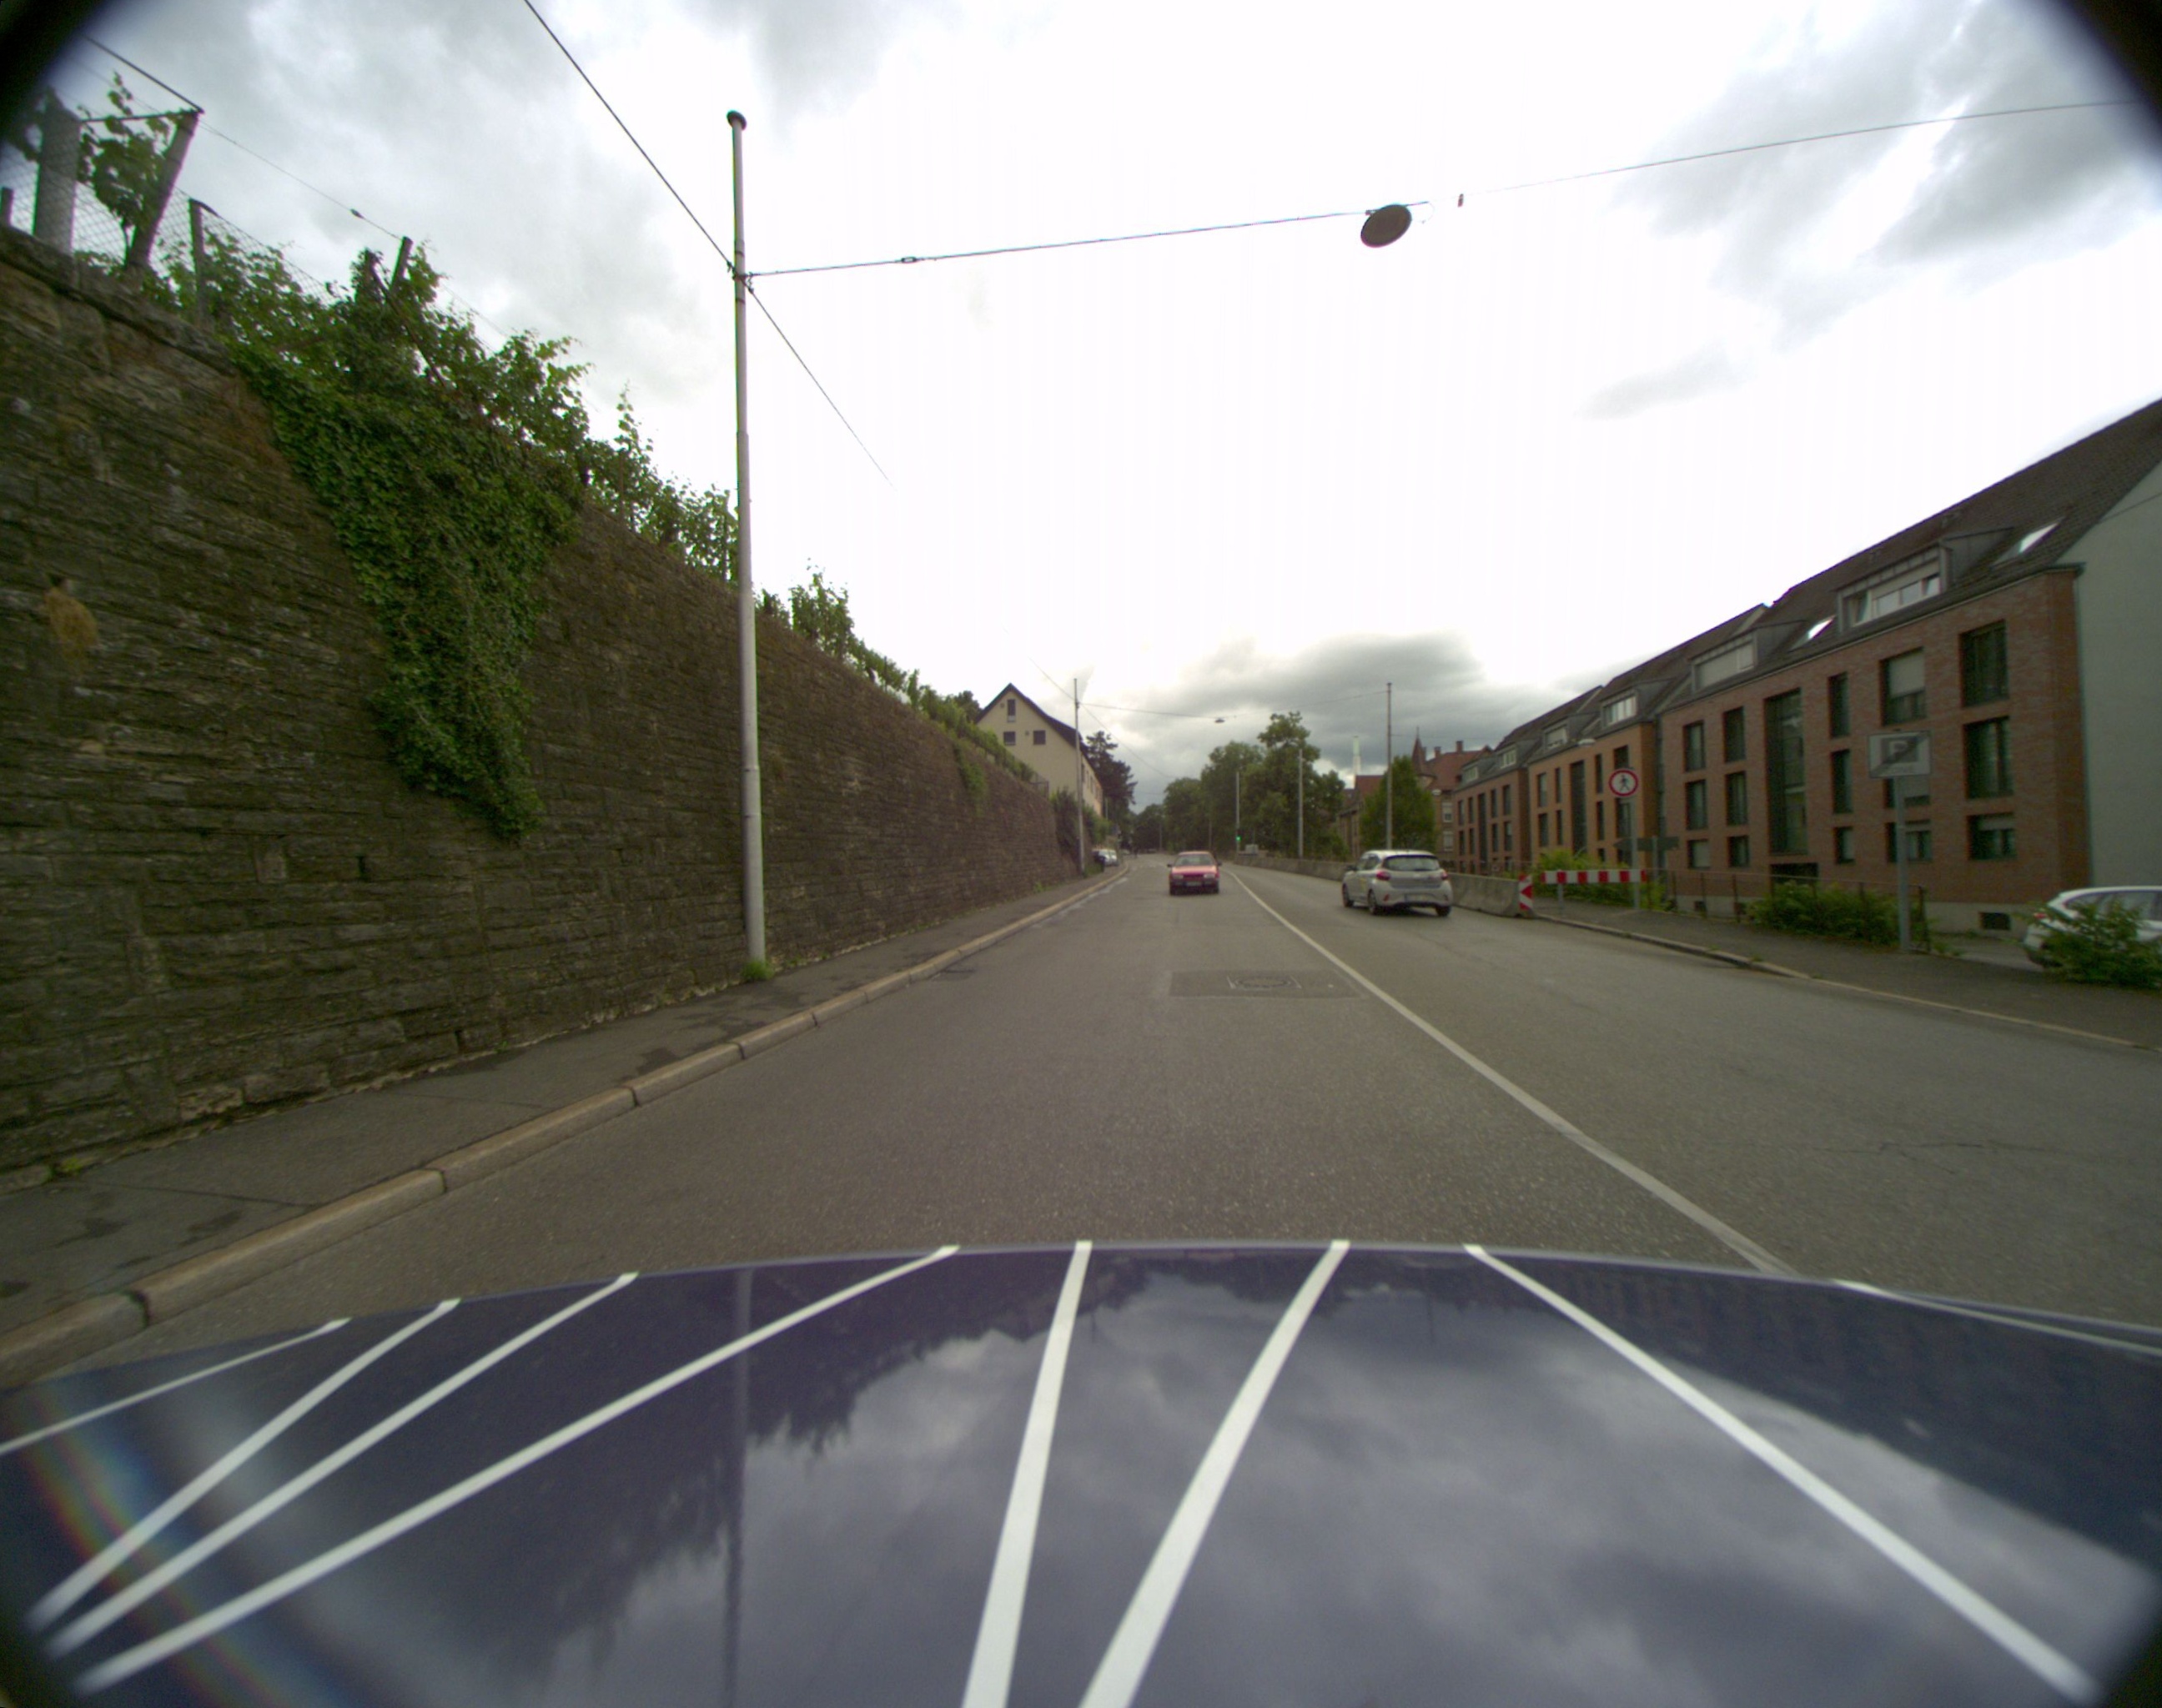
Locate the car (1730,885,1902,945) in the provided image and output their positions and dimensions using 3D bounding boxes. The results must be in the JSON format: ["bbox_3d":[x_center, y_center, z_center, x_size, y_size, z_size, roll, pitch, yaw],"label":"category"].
[{"bbox_3d":[23.928,1.921,24.975,1.997,1.652,4.002,1,0,6],"label":"car"}]

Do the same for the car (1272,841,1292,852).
[{"bbox_3d":[25.500,-0.949,96.604,1.997,1.346,4.002,0,1,8],"label":"car"}]

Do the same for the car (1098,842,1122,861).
[{"bbox_3d":[2.636,-0.266,68.524,1.731,1.566,4.250,-2,1,8],"label":"car"}]

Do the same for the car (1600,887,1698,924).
[{"bbox_3d":[26.355,2.353,35.428,1.997,1.477,4.003,1,0,9],"label":"car"}]

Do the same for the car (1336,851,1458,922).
[{"bbox_3d":[7.412,0.706,18.196,1.673,1.459,3.645,2,0,6],"label":"car"}]

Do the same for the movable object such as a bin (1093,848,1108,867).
[{"bbox_3d":[1.207,0.202,46.824,0.810,1.120,0.875,-1,1,7],"label":"movable object such as a bin"}]

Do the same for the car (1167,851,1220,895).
[{"bbox_3d":[3.886,0.622,26.768,1.645,1.430,4.002,-1,0,6],"label":"car"}]

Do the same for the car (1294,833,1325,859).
[{"bbox_3d":[24.643,-0.935,82.166,2.563,2.567,5.739,-2,2,11],"label":"car"}]

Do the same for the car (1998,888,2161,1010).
[{"bbox_3d":[15.786,1.367,10.303,1.831,1.505,4.426,-2,0,10],"label":"car"}]

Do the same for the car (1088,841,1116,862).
[{"bbox_3d":[1.795,-0.225,63.734,1.798,1.566,4.057,-2,1,8],"label":"car"}]

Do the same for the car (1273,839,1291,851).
[{"bbox_3d":[29.609,-1.317,112.072,1.997,1.543,4.002,-2,0,8],"label":"car"}]

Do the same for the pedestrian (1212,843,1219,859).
[{"bbox_3d":[14.497,-0.336,82.085,0.734,1.702,0.696,-1,1,10],"label":"pedestrian"}]
